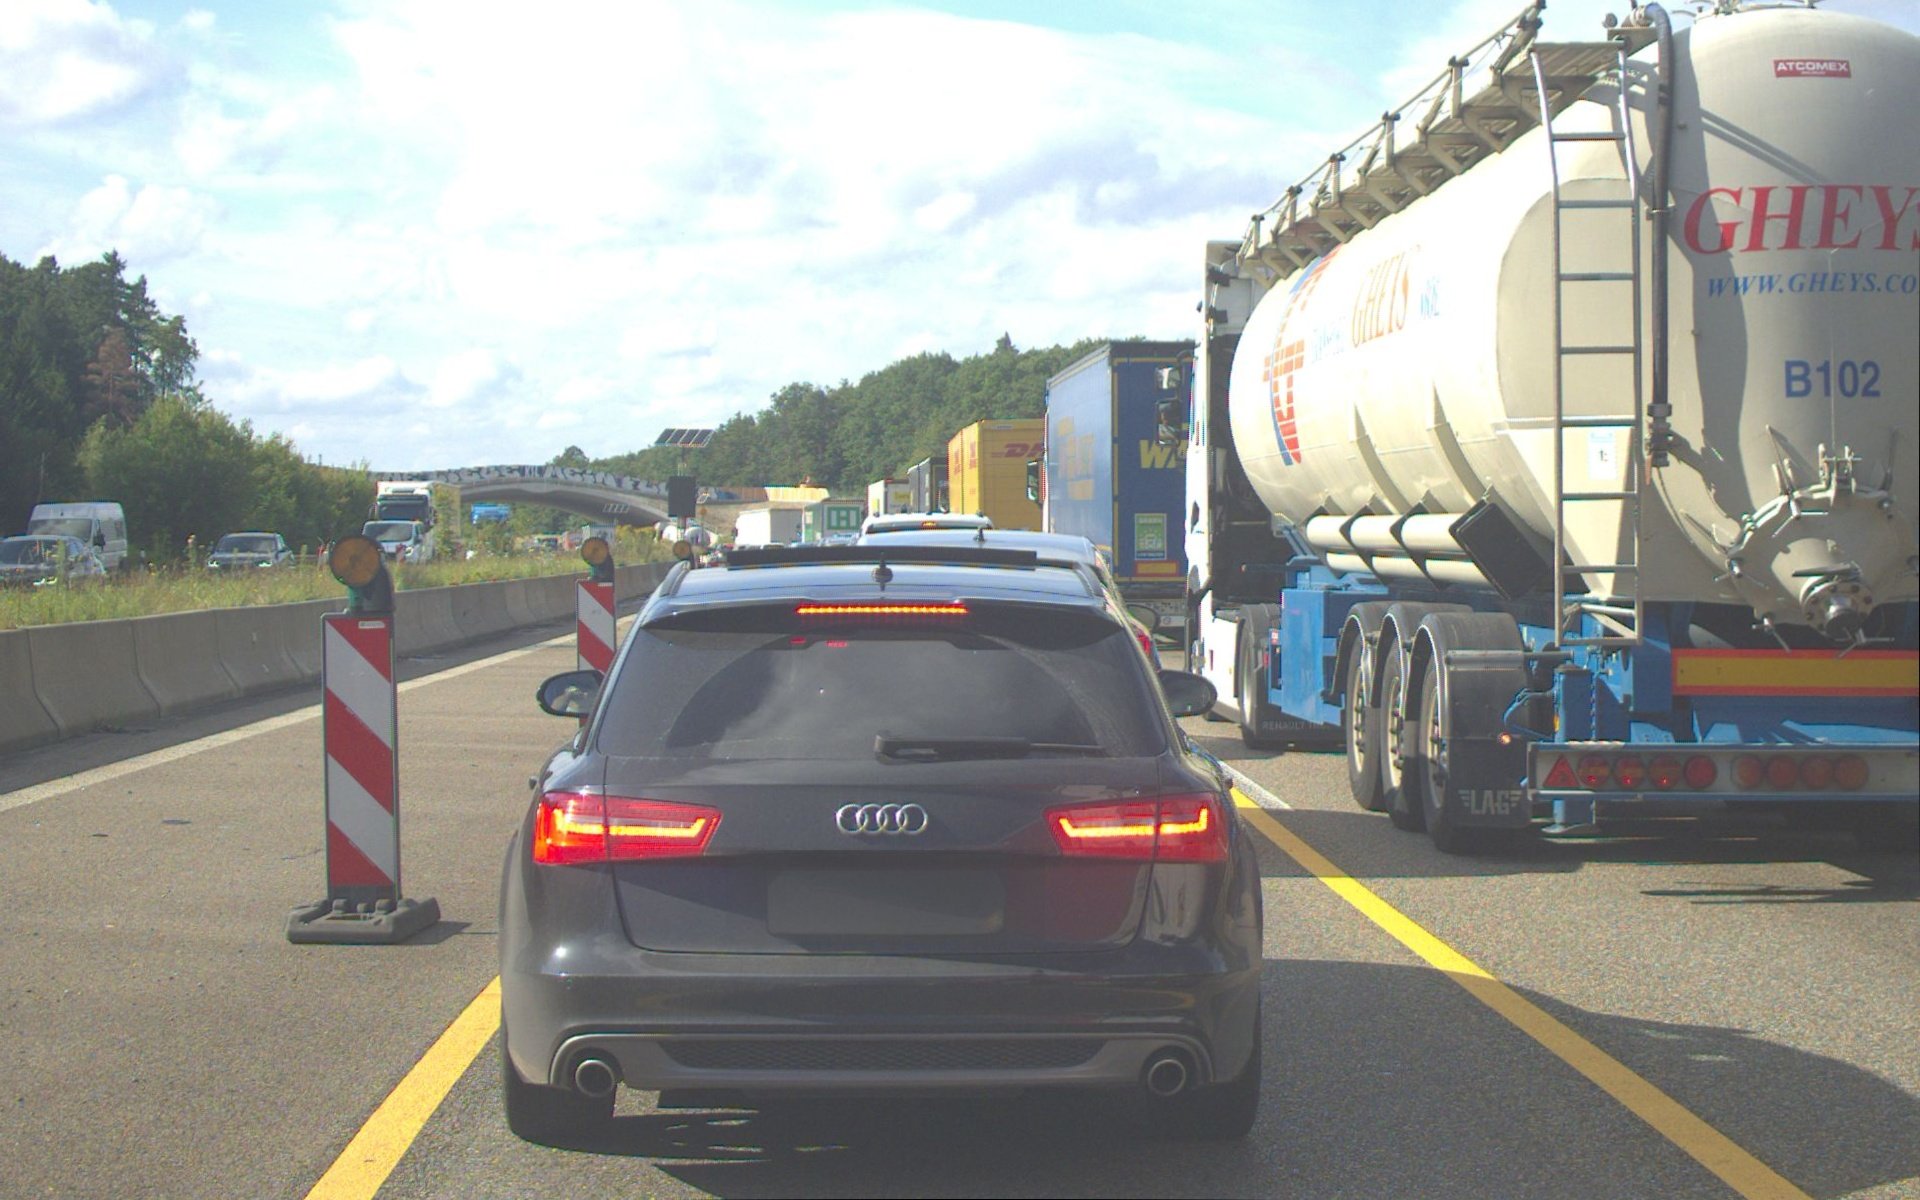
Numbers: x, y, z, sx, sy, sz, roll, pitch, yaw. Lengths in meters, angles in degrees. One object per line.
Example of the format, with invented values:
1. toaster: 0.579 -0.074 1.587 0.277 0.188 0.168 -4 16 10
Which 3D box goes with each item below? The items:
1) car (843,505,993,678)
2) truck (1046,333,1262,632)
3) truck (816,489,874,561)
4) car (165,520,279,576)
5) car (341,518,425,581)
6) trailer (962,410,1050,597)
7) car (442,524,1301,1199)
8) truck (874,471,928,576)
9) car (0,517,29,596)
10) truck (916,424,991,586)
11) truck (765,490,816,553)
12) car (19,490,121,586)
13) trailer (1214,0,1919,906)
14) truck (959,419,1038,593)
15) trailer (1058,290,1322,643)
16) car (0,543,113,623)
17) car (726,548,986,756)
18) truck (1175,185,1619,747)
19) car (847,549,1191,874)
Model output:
1. car: -0.471 -0.108 38.543 1.581 1.830 3.112 1 1 -1
2. truck: 2.961 -1.774 54.547 2.806 4.354 7.792 1 1 -1
3. truck: -6.879 -4.413 204.746 3.304 4.160 9.703 0 1 -3
4. car: -18.621 -1.303 86.916 1.958 1.358 4.288 1 1 0
5. car: -19.059 -1.661 113.757 1.993 2.007 4.832 1 1 -1
6. trailer: 0.969 -2.064 75.618 1.616 3.905 6.490 1 1 -2
7. car: -0.218 0.537 9.473 1.848 1.458 4.000 1 1 -1
8. truck: -2.458 -3.132 142.647 2.137 4.243 7.072 1 1 -1
9. car: -25.572 -1.132 88.760 1.993 2.007 4.000 1 1 -1
10. truck: -0.265 -2.981 109.270 1.993 4.897 9.563 1 1 -2
11. truck: -11.647 -5.372 235.827 3.303 4.160 9.704 1 1 -4
12. car: -25.500 -1.757 98.615 2.250 2.634 5.021 1 1 -8
13. trailer: 3.400 -0.842 20.155 2.644 3.929 12.598 1 1 -1
14. truck: 0.874 -2.142 79.526 1.609 3.883 4.072 1 1 -2
15. trailer: 3.047 -1.737 48.537 2.805 4.398 10.433 1 1 -1
16. car: -16.735 -0.331 62.179 1.779 1.382 4.310 1 1 0
17. car: -0.731 0.334 25.210 1.751 1.392 3.608 1 1 -1
18. truck: 3.292 -0.982 27.375 2.659 3.958 5.779 1 1 -1
19. car: 0.245 0.484 17.049 1.524 1.434 3.285 1 1 -1
